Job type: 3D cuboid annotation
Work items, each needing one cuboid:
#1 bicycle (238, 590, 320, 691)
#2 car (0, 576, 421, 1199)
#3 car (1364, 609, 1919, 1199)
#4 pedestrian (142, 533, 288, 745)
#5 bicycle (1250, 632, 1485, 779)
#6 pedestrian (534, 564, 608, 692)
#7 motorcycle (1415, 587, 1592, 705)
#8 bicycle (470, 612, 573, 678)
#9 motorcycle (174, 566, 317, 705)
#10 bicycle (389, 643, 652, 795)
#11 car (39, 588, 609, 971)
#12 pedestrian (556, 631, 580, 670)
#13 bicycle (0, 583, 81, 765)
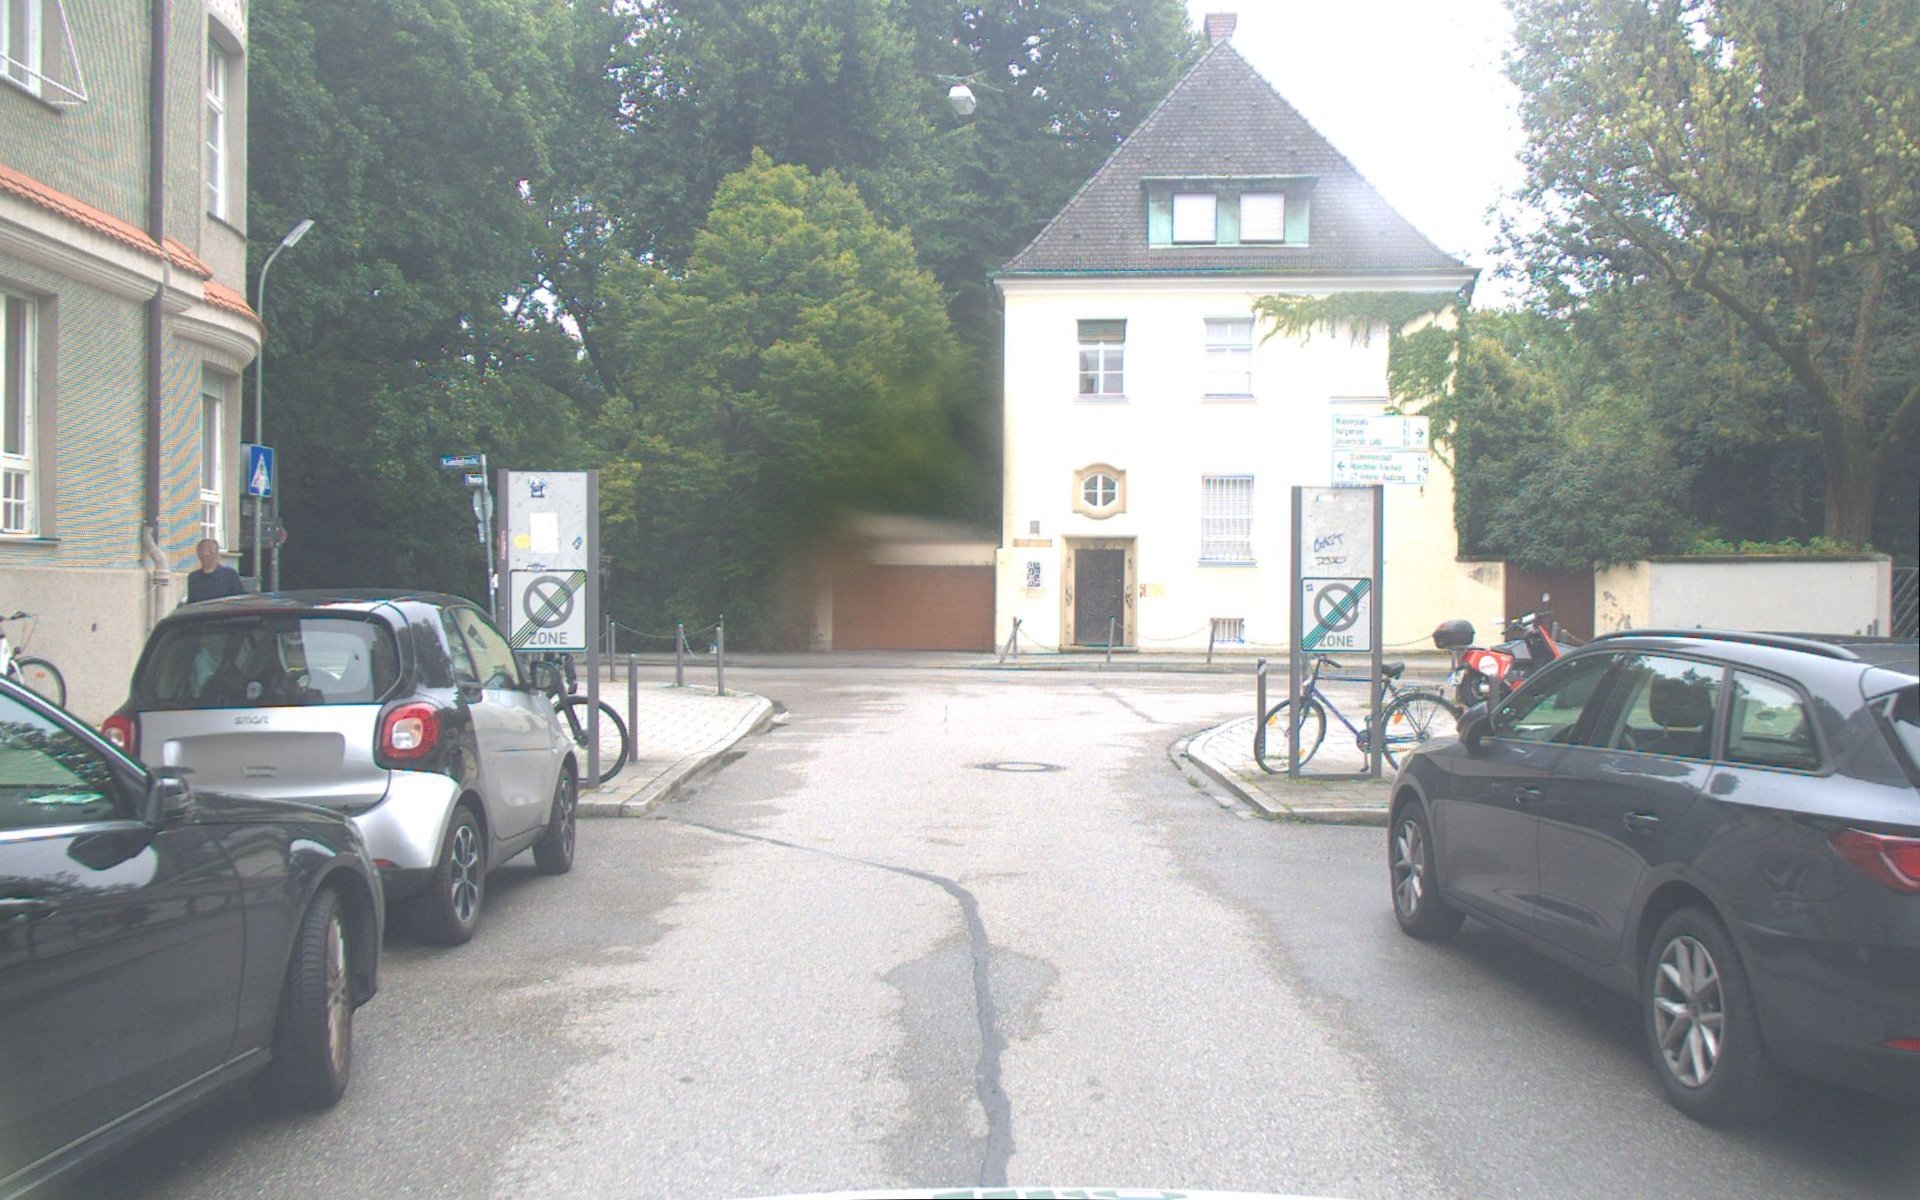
[{"bbox_3d":[-9.119,0.520,22.109,0.728,1.278,1.906,1,0,-31],"label":"bicycle"},{"bbox_3d":[-2.686,0.719,3.106,1.719,1.541,4.708,0,0,1],"label":"car"},{"bbox_3d":[3.003,0.815,6.179,1.659,1.497,4.608,1,0,-3],"label":"car"},{"bbox_3d":[-6.628,0.334,14.762,0.821,1.818,0.936,1,0,2],"label":"pedestrian"},{"bbox_3d":[3.322,0.834,13.517,1.756,1.104,0.665,0,1,26],"label":"bicycle"},{"bbox_3d":[-5.217,0.369,22.174,0.800,1.670,0.720,1,0,-26],"label":"pedestrian"},{"bbox_3d":[6.666,0.555,20.288,2.050,1.379,0.811,1,0,-24],"label":"motorcycle"},{"bbox_3d":[-7.292,0.737,27.466,1.968,1.028,0.510,1,0,36],"label":"bicycle"},{"bbox_3d":[-8.028,0.376,18.694,0.721,1.466,2.146,1,0,-2],"label":"motorcycle"},{"bbox_3d":[-3.225,0.867,12.223,1.766,1.032,0.540,2,0,-2],"label":"bicycle"},{"bbox_3d":[-2.886,0.720,8.159,1.669,1.541,2.911,0,0,0],"label":"car"},{"bbox_3d":[-12.213,1.560,51.539,0.573,1.189,0.497,1,0,5],"label":"pedestrian"},{"bbox_3d":[-7.589,0.555,12.961,0.606,1.373,1.673,1,0,-5],"label":"bicycle"}]
